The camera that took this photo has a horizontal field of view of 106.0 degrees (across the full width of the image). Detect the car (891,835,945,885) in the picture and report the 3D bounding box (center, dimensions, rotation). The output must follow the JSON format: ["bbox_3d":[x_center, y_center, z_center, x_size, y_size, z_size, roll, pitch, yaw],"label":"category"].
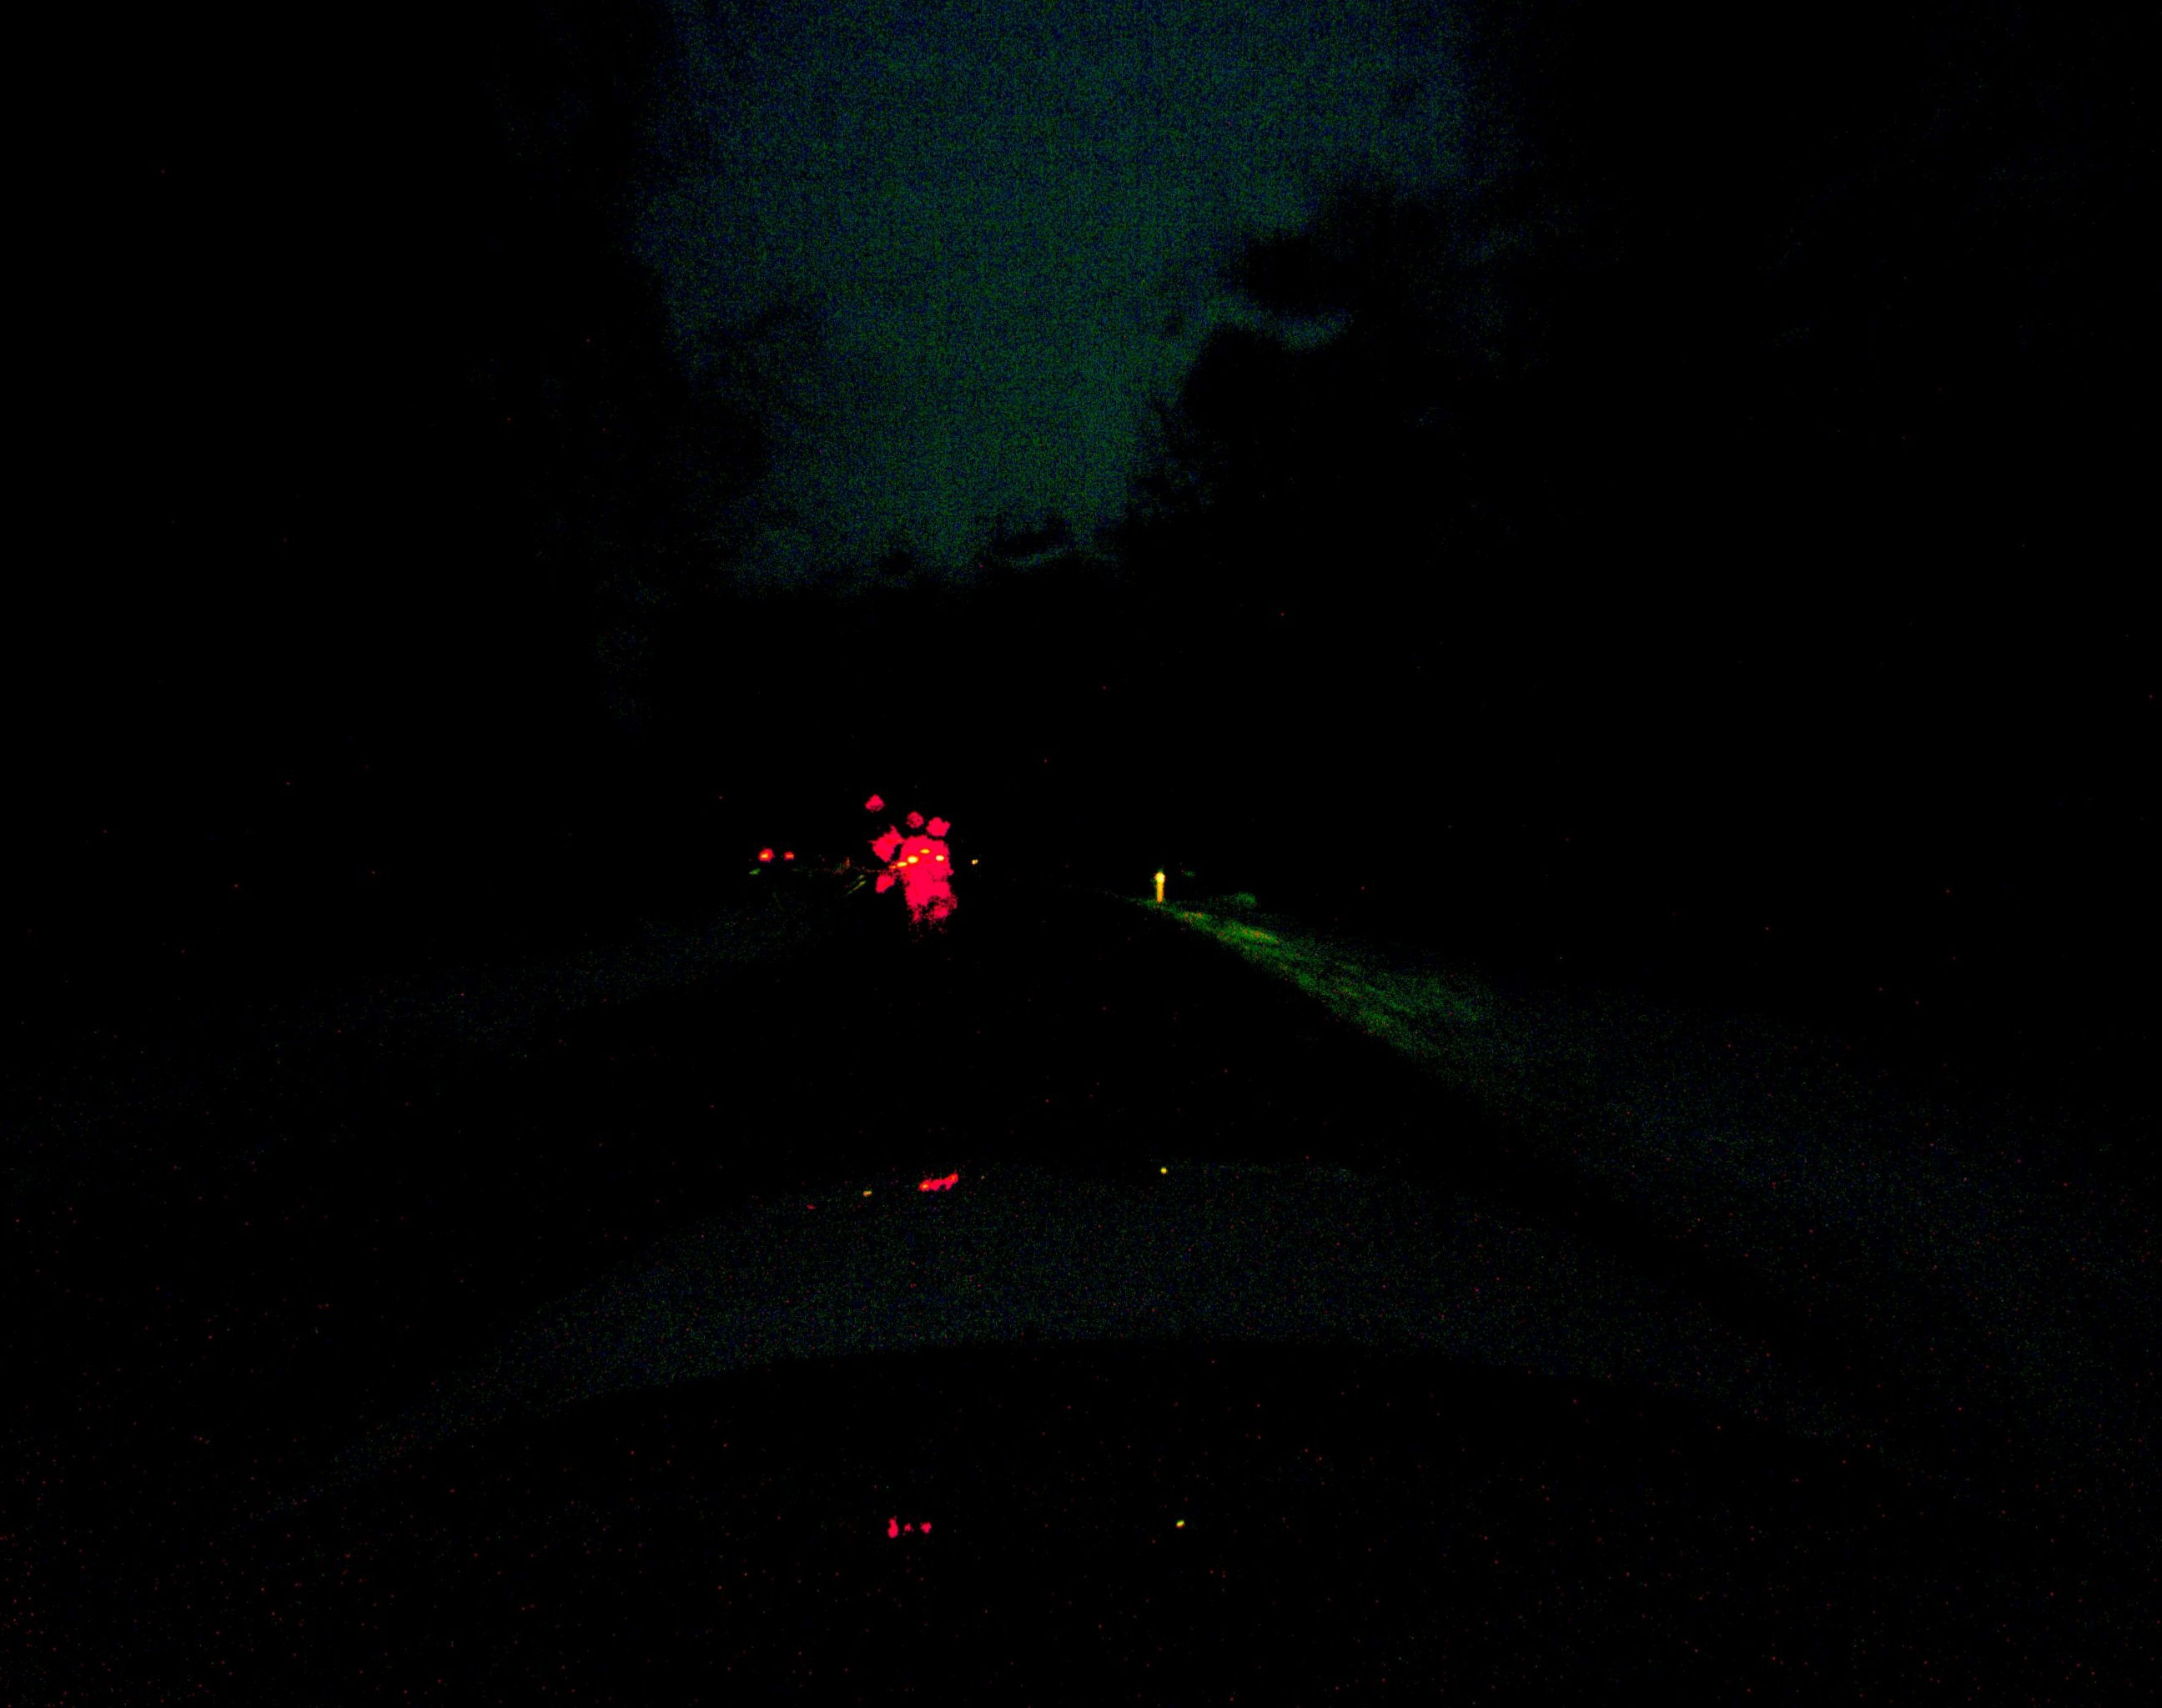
[{"bbox_3d":[-7.753,0.288,38.484,1.998,2.051,3.978,-6,1,-16],"label":"car"}]

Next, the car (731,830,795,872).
[{"bbox_3d":[-21.458,-0.174,54.782,2.272,2.645,4.945,-4,2,-43],"label":"car"}]
